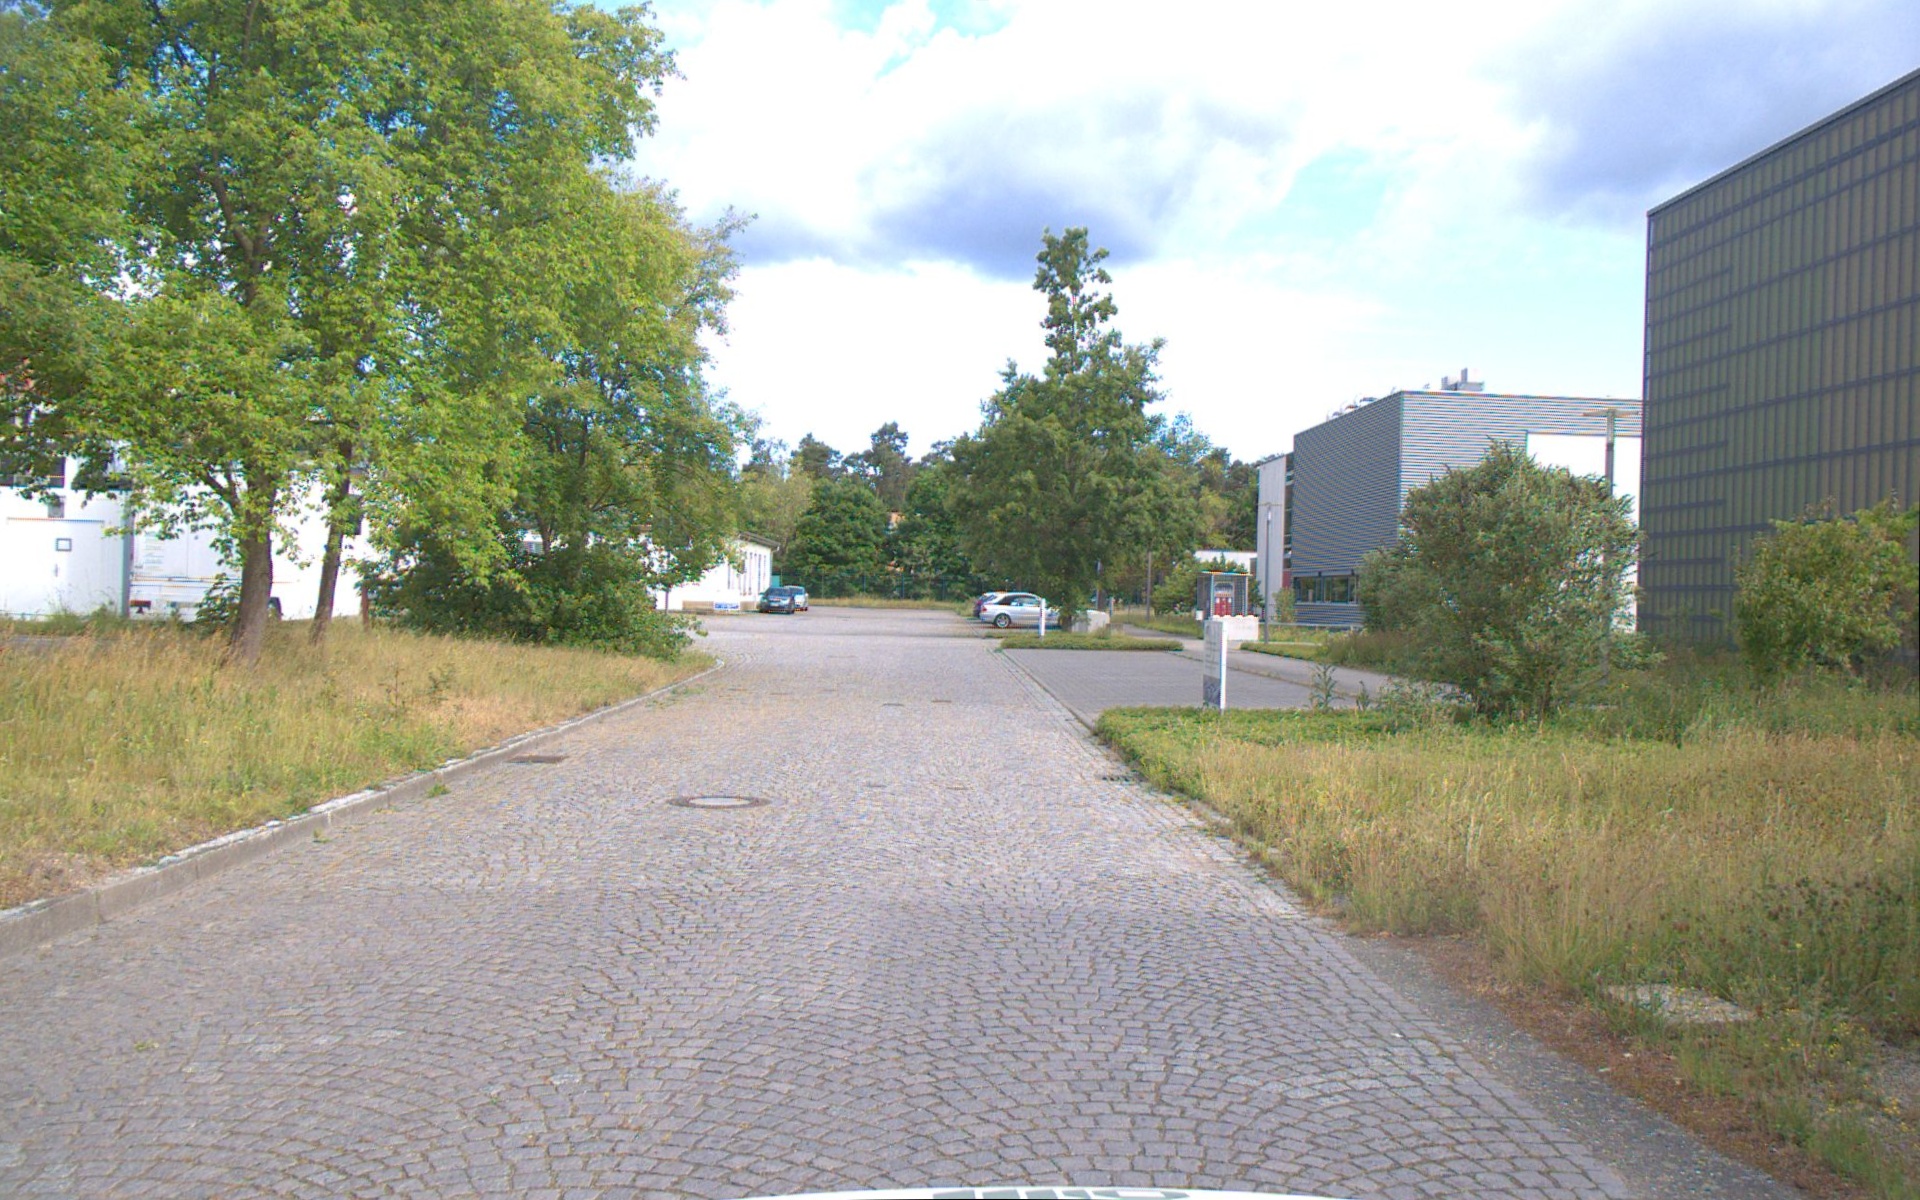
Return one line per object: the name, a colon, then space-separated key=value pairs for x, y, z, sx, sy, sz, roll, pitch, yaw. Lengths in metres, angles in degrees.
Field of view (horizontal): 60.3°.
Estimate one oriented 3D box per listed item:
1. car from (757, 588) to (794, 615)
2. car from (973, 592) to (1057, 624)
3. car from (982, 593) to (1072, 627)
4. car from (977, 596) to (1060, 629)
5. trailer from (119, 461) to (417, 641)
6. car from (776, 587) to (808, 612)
car: x=-10.189 y=0.081 z=91.434 sx=1.614 sy=1.393 sz=3.997 roll=2 pitch=0 yaw=-1
car: x=2.581 y=0.370 z=78.052 sx=3.903 sy=1.501 sz=1.653 roll=0 pitch=0 yaw=-1
car: x=2.937 y=0.422 z=72.929 sx=3.903 sy=1.473 sz=1.653 roll=0 pitch=0 yaw=-1
car: x=2.468 y=0.535 z=70.222 sx=3.451 sy=1.386 sz=1.622 roll=0 pitch=0 yaw=-1
trailer: x=-16.060 y=-1.031 z=39.475 sx=2.571 sy=3.660 sz=10.178 roll=2 pitch=0 yaw=1
car: x=-10.327 y=-0.044 z=101.774 sx=1.614 sy=1.483 sz=3.997 roll=2 pitch=0 yaw=-1
